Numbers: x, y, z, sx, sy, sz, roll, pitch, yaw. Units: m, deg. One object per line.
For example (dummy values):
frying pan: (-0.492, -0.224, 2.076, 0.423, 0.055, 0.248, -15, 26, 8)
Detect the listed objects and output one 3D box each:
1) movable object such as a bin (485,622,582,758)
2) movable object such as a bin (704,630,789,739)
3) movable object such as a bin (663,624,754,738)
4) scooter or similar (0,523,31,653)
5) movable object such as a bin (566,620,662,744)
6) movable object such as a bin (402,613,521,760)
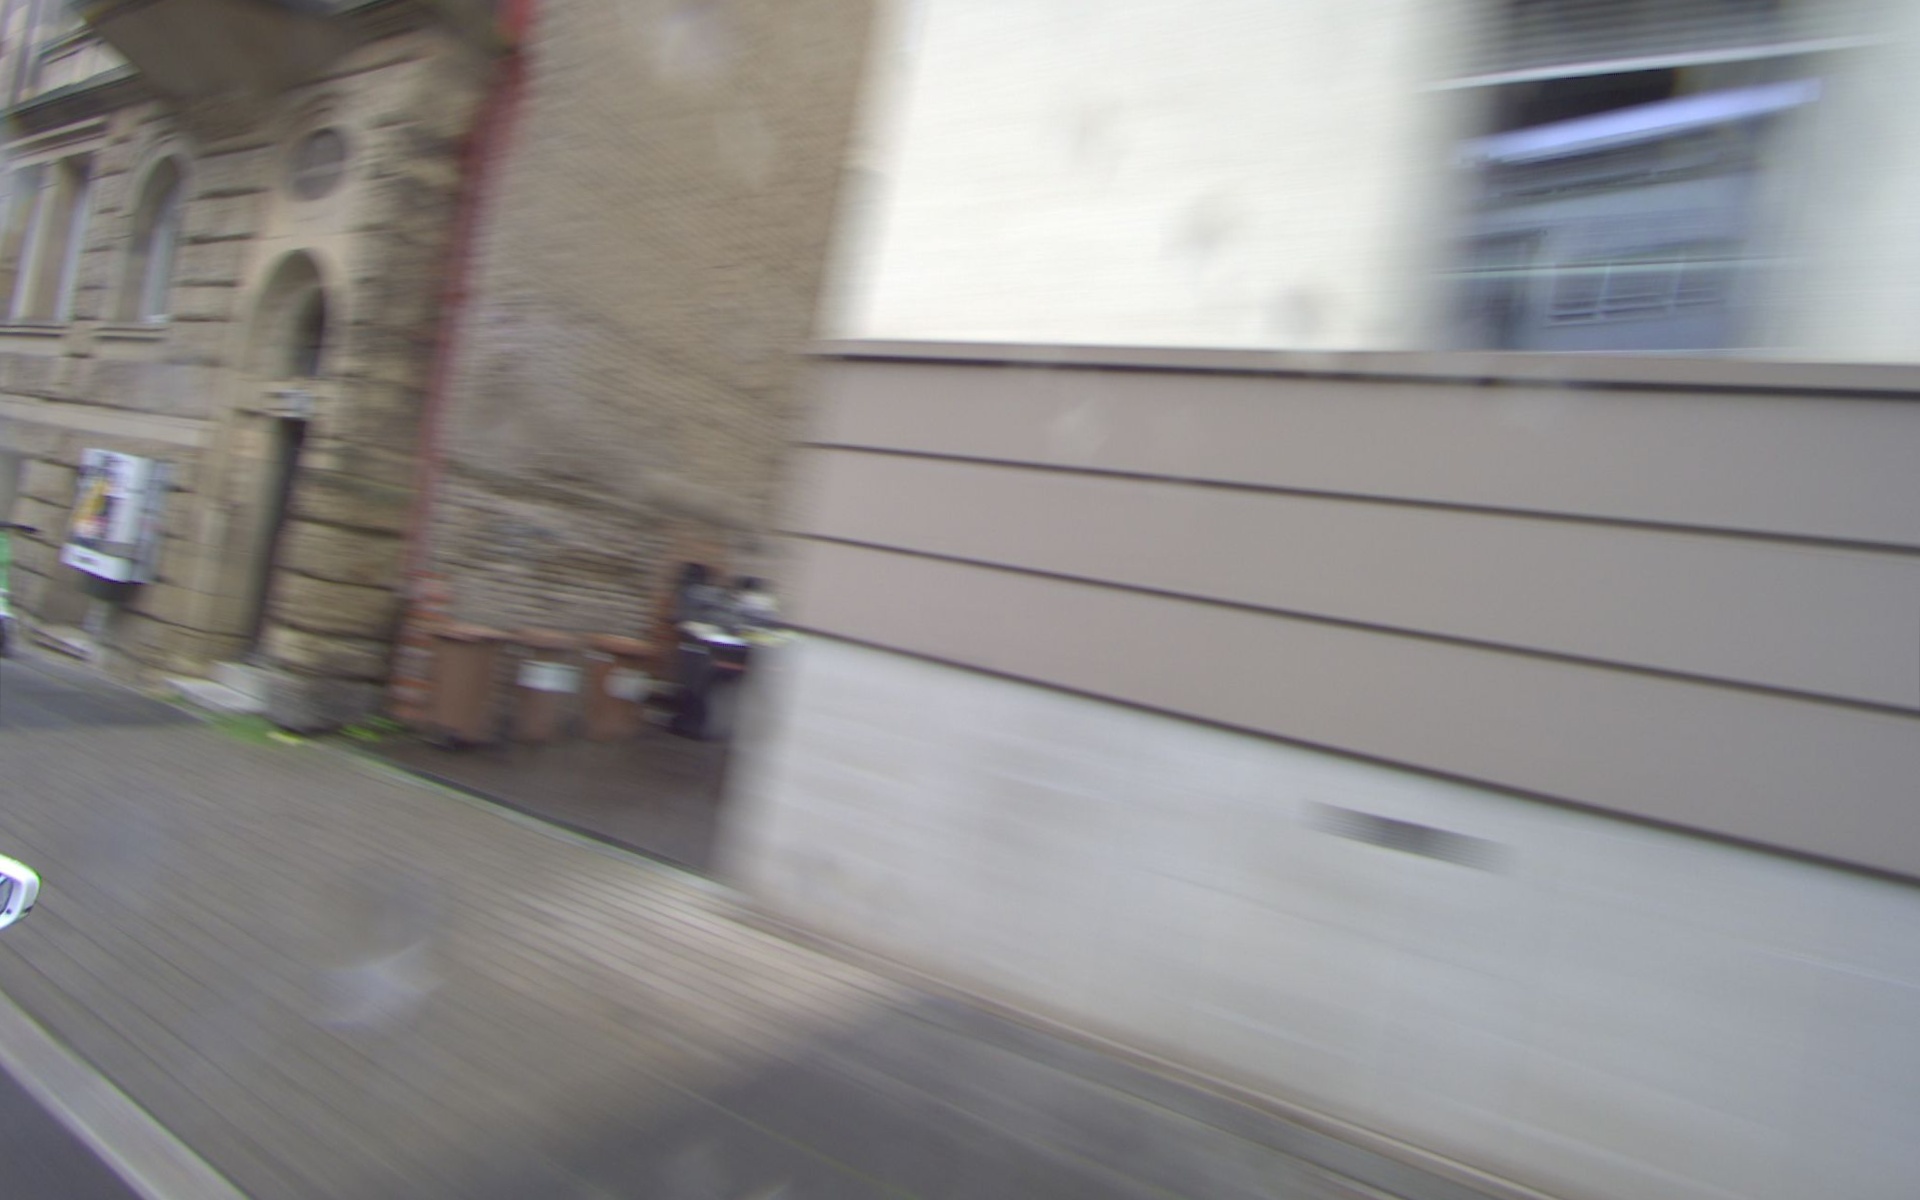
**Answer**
movable object such as a bin: (-3.507, 0.740, 8.269, 0.499, 1.025, 0.435, 10, -3, -39)
movable object such as a bin: (-2.194, 0.871, 10.369, 0.522, 1.025, 0.502, 7, -3, 30)
movable object such as a bin: (-2.457, 0.800, 9.851, 0.522, 1.025, 0.503, 7, -3, 28)
scooter or similar: (-8.732, -0.139, 8.963, 0.875, 1.124, 0.210, 6, -1, 22)
movable object such as a bin: (-3.063, 0.733, 8.930, 0.432, 1.025, 0.503, 7, -3, 28)
movable object such as a bin: (-3.798, 0.663, 7.673, 0.468, 1.025, 0.503, 7, -3, 29)
